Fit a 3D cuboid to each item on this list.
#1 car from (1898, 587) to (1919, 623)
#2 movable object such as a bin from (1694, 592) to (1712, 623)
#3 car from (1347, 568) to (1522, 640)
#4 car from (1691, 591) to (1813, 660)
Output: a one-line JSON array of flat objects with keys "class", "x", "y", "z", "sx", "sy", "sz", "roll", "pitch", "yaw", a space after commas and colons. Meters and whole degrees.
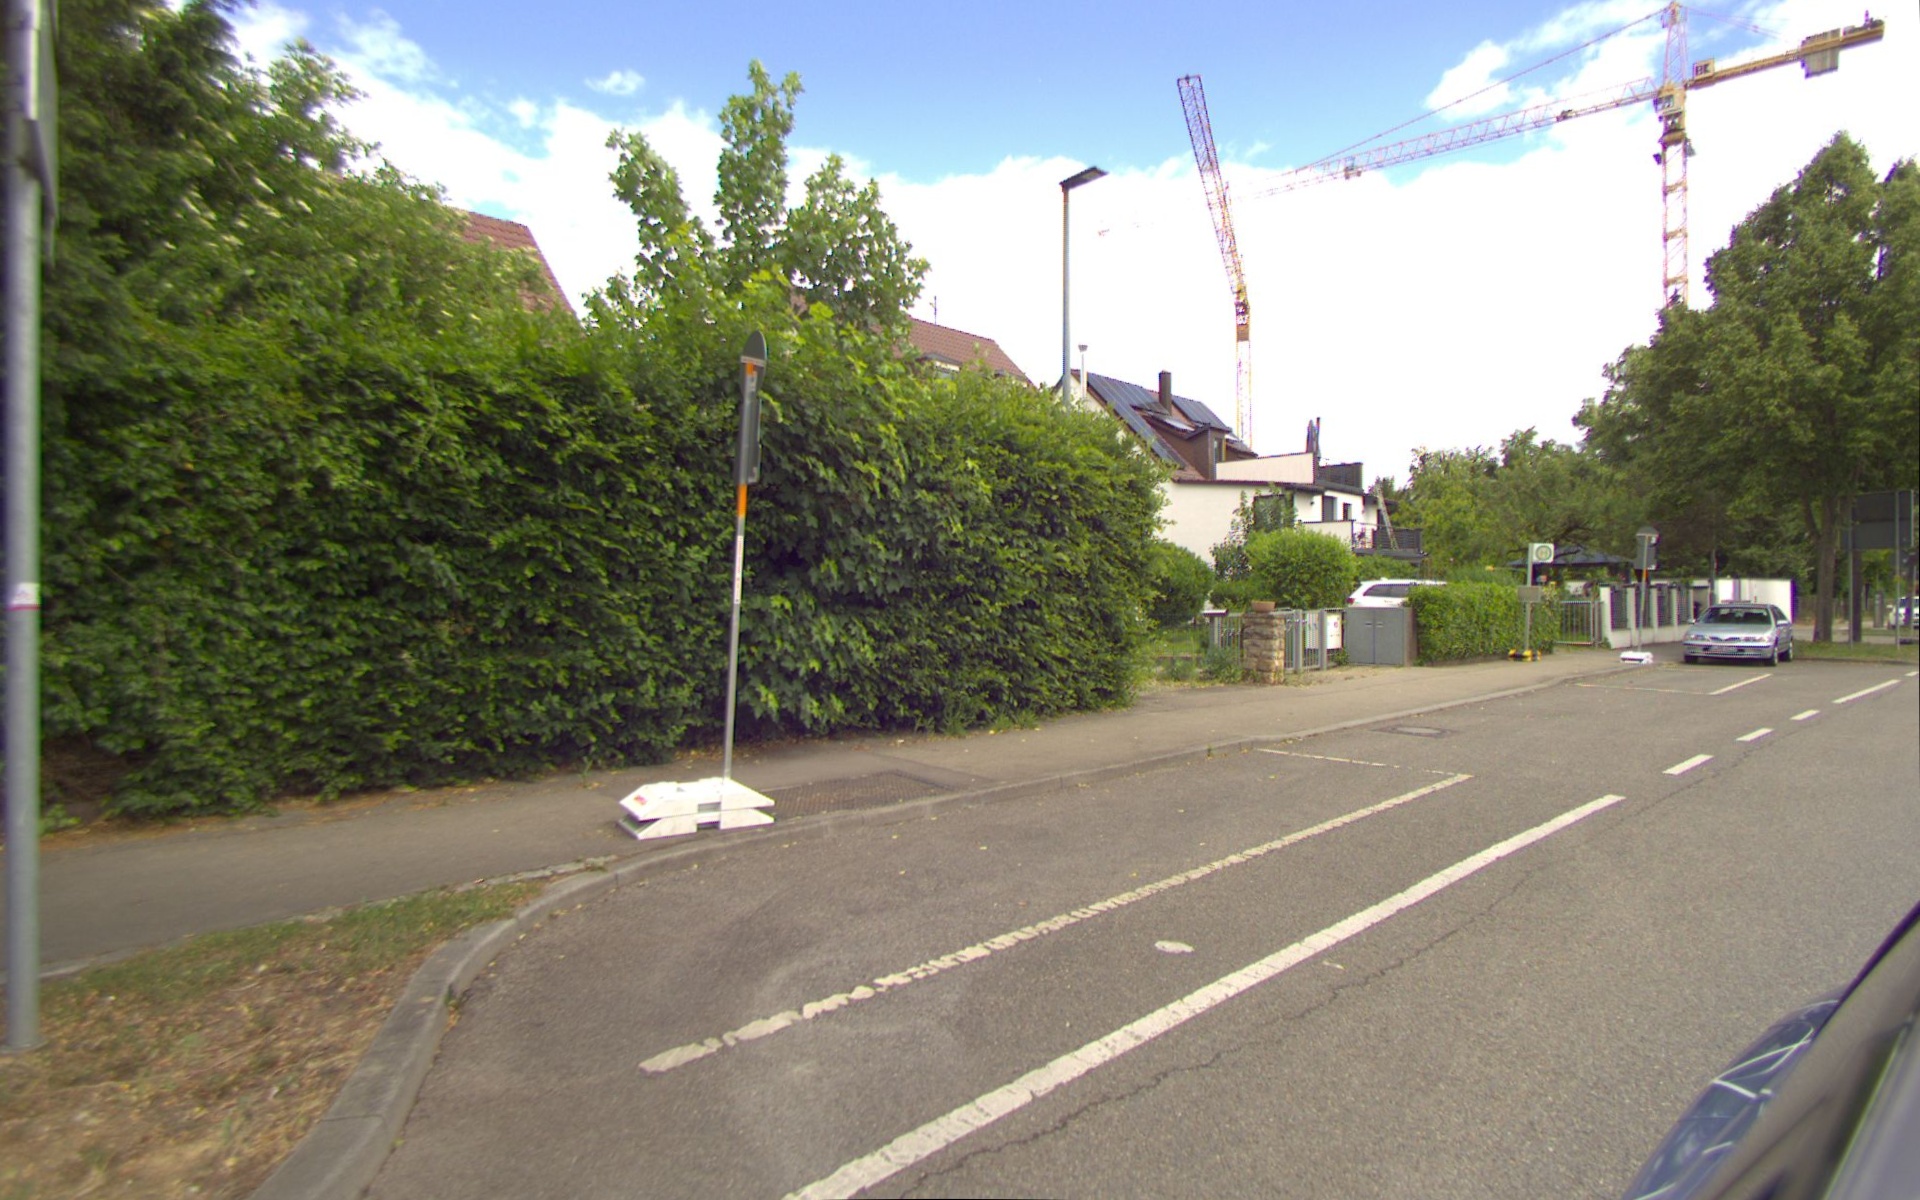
[{"class": "car", "x": 46.035, "y": 0.209, "z": 48.047, "sx": 4.048, "sy": 1.663, "sz": 1.902, "roll": -1, "pitch": 1, "yaw": -43}, {"class": "movable object such as a bin", "x": 25.791, "y": 0.255, "z": 35.126, "sx": 0.447, "sy": 1.035, "sz": 0.437, "roll": 0, "pitch": 0, "yaw": -41}, {"class": "car", "x": 13.122, "y": 0.087, "z": 28.107, "sx": 1.967, "sy": 1.846, "sz": 3.989, "roll": 0, "pitch": 0, "yaw": -45}, {"class": "car", "x": 18.767, "y": 0.533, "z": 23.907, "sx": 4.314, "sy": 1.394, "sz": 1.613, "roll": -2, "pitch": 2, "yaw": -43}]
